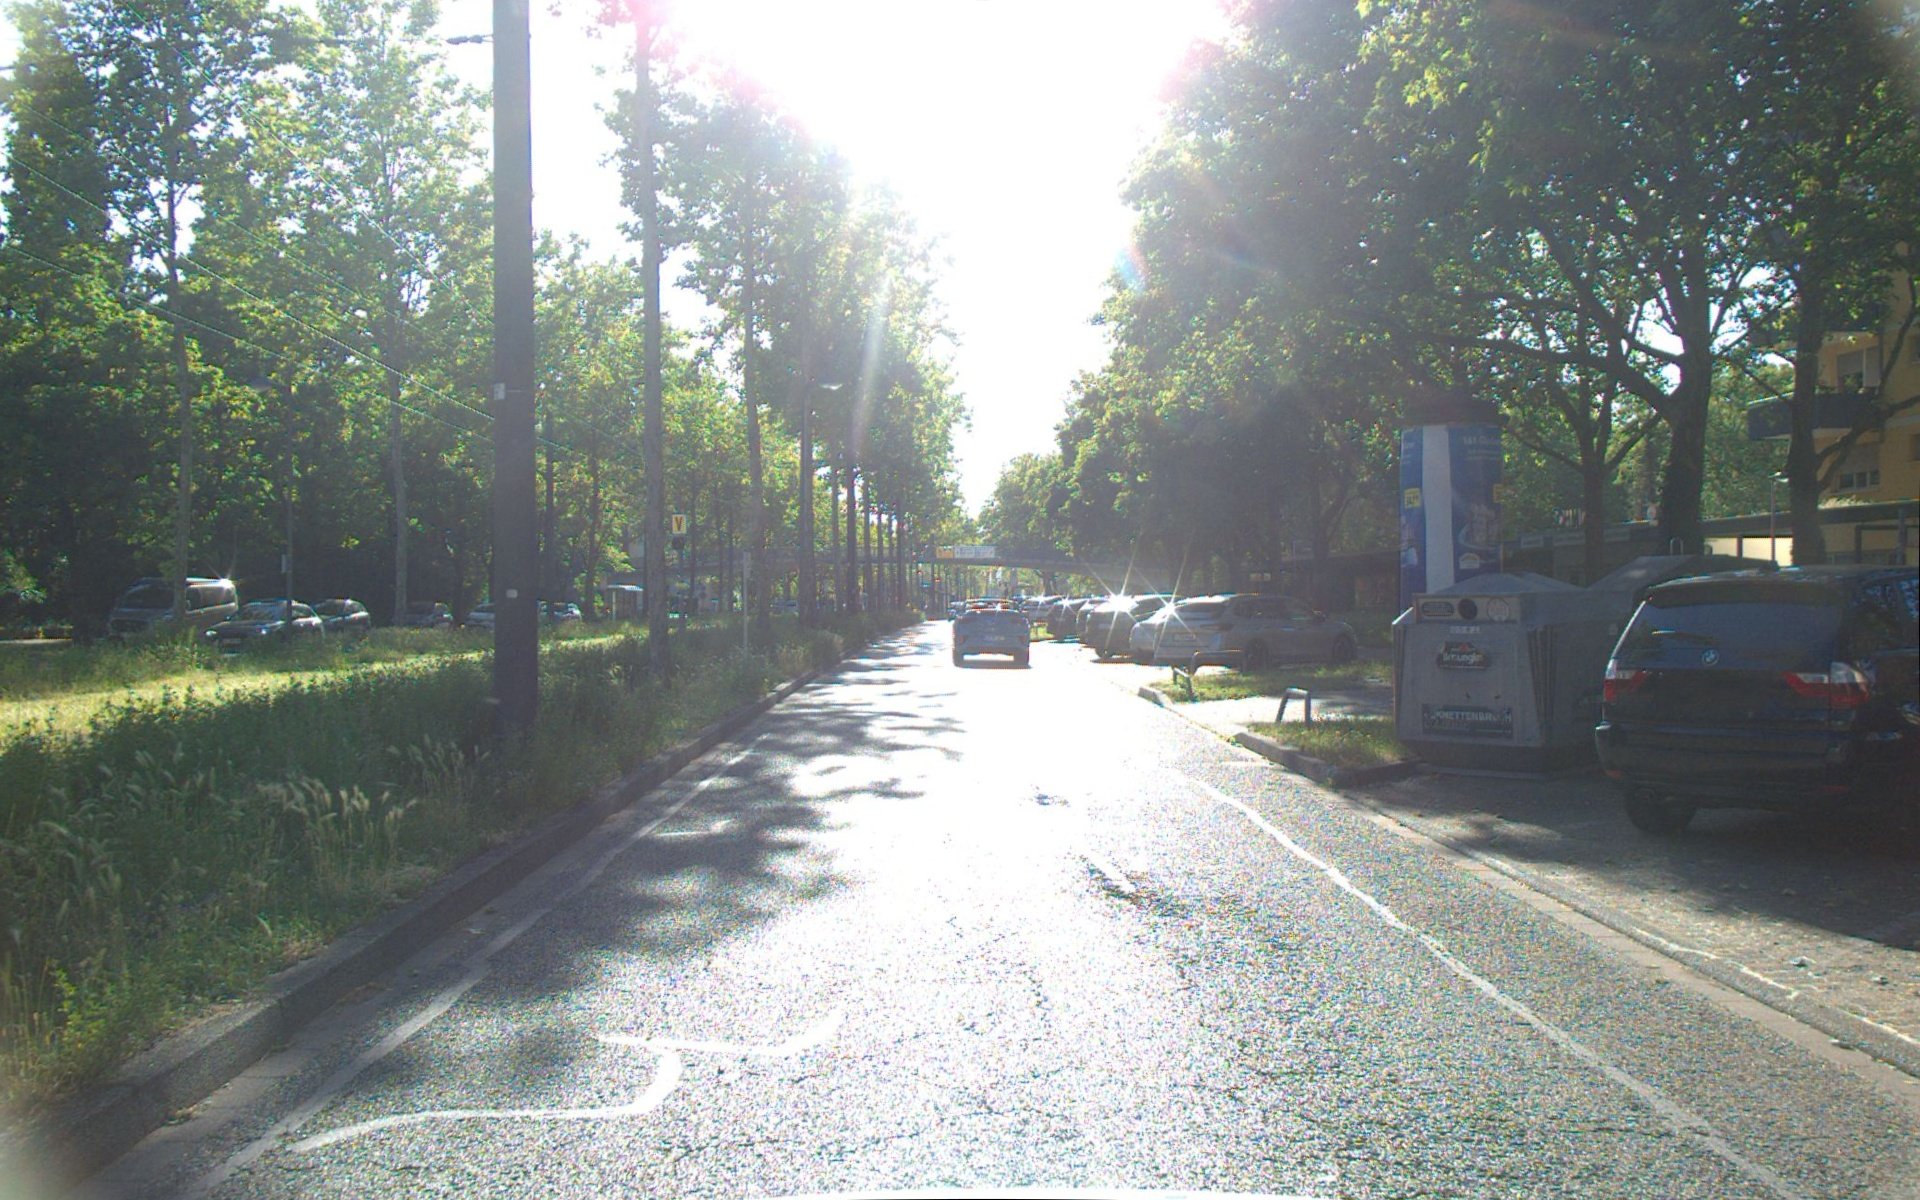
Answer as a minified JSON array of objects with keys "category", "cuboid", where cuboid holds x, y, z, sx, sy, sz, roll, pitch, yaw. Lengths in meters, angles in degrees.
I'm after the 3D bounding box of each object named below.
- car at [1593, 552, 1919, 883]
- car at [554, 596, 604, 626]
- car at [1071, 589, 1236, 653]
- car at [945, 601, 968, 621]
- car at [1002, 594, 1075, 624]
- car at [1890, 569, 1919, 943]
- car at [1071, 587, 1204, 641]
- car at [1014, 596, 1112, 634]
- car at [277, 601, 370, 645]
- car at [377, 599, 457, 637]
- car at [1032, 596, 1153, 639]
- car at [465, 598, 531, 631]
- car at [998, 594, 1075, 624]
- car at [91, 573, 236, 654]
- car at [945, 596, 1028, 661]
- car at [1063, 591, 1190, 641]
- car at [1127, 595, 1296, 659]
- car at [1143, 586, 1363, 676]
[{"category":"car","cuboid":[5.962,0.603,10.739,4.280,1.747,1.612,-1,0,-40]},{"category":"car","cuboid":[-21.692,0.621,94.222,1.750,1.617,4.168,2,0,1]},{"category":"car","cuboid":[4.885,0.508,41.444,4.298,1.449,1.826,-2,0,-45]},{"category":"car","cuboid":[-0.312,0.853,131.812,1.811,1.562,3.866,0,0,0]},{"category":"car","cuboid":[4.792,0.542,100.416,4.587,1.799,1.827,1,0,-44]},{"category":"car","cuboid":[6.197,0.612,7.660,4.039,1.610,1.759,-2,0,-36]},{"category":"car","cuboid":[5.760,0.431,53.204,1.825,1.597,4.593,-1,0,44]},{"category":"car","cuboid":[4.728,0.679,75.382,4.587,1.710,1.827,1,0,-44]},{"category":"car","cuboid":[-22.802,0.803,59.406,1.834,1.478,3.575,2,0,1]},{"category":"car","cuboid":[-22.986,0.742,70.145,1.952,1.478,4.000,2,0,1]},{"category":"car","cuboid":[4.821,0.605,59.690,1.945,1.484,4.595,-1,0,43]},{"category":"car","cuboid":[-22.452,0.690,80.465,1.952,1.478,4.000,2,0,1]},{"category":"car","cuboid":[4.489,0.558,96.718,4.587,1.710,1.827,1,0,-44]},{"category":"car","cuboid":[-22.675,0.363,47.303,1.611,2.129,4.915,2,0,1]},{"category":"car","cuboid":[0.609,0.640,39.371,1.883,1.436,4.000,1,0,0]},{"category":"car","cuboid":[5.744,0.524,56.709,4.590,1.597,1.826,-1,0,-45]},{"category":"car","cuboid":[5.894,0.594,38.506,4.298,1.320,1.664,-2,0,-45]},{"category":"car","cuboid":[5.543,0.540,30.980,4.461,1.469,1.826,-2,0,-45]}]
